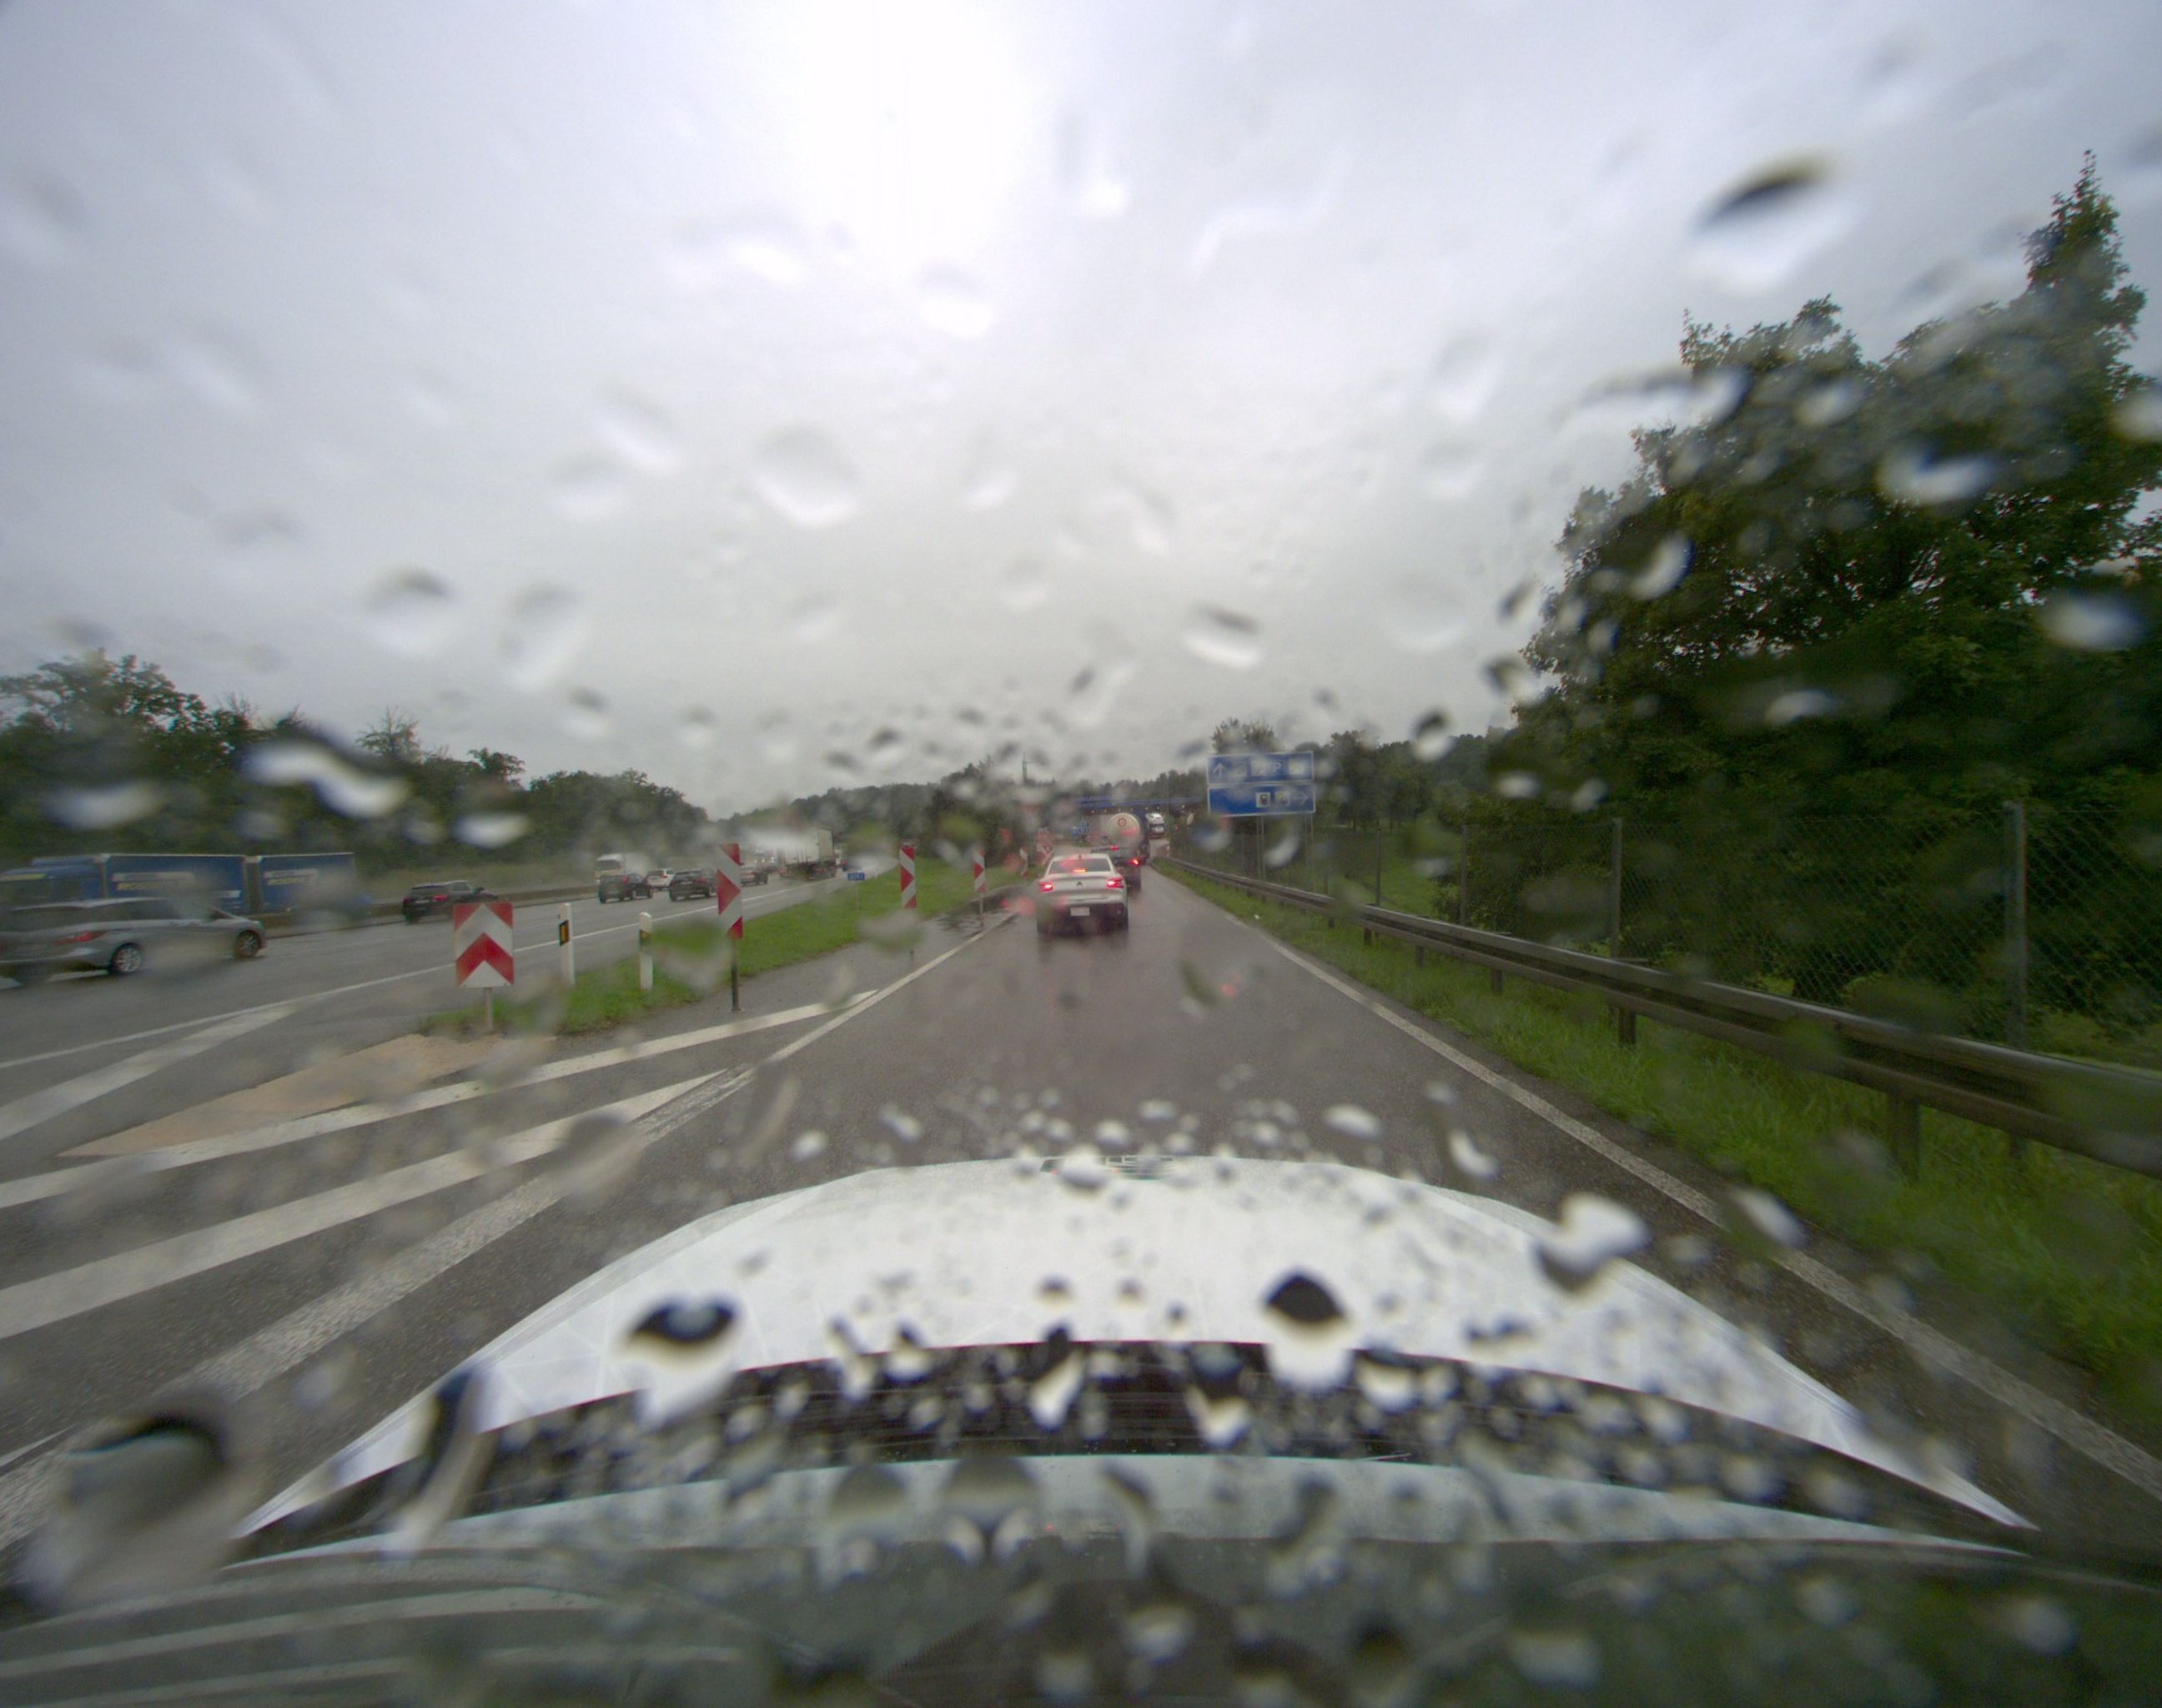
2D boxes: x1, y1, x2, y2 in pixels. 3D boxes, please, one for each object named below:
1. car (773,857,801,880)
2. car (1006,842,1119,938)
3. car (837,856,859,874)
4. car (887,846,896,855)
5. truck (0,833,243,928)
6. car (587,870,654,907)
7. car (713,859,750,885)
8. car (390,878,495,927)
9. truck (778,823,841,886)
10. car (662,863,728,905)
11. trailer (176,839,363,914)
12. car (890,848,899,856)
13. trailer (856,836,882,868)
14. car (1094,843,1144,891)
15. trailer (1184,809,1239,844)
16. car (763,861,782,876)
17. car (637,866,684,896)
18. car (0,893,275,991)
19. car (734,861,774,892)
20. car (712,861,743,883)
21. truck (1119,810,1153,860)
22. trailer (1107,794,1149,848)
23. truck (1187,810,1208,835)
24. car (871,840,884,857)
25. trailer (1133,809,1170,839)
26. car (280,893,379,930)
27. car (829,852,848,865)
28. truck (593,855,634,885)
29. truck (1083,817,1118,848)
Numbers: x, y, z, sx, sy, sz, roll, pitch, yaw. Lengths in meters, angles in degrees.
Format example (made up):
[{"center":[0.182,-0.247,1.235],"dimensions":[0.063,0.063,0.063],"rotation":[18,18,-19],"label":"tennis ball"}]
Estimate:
[{"center":[-28.075,1.345,77.936],"dimensions":[1.997,2.013,3.981],"rotation":[-4,0,-14],"label":"car"},{"center":[-0.308,0.625,16.536],"dimensions":[1.987,1.679,4.000],"rotation":[-1,0,0],"label":"car"},{"center":[-25.860,1.227,90.506],"dimensions":[1.994,1.815,3.985],"rotation":[-2,0,-11],"label":"car"},{"center":[-45.691,-0.812,196.204],"dimensions":[1.999,2.013,3.976],"rotation":[0,0,-17],"label":"car"},{"center":[-46.683,1.166,39.251],"dimensions":[3.061,3.980,10.522],"rotation":[1,-1,-10],"label":"truck"},{"center":[-24.845,1.831,44.095],"dimensions":[1.776,1.736,4.086],"rotation":[-3,0,-10],"label":"car"},{"center":[-30.510,1.540,71.213],"dimensions":[1.995,2.013,3.985],"rotation":[-4,1,-11],"label":"car"},{"center":[-27.705,2.058,35.533],"dimensions":[1.776,1.736,4.086],"rotation":[-4,1,-10],"label":"car"},{"center":[-20.827,0.053,63.207],"dimensions":[2.851,4.292,11.798],"rotation":[-4,0,-11],"label":"truck"},{"center":[-18.459,1.399,39.104],"dimensions":[1.776,1.736,3.833],"rotation":[-4,0,-10],"label":"car"},{"center":[-48.270,1.307,49.006],"dimensions":[3.090,4.047,9.136],"rotation":[1,-1,-9],"label":"trailer"},{"center":[-49.377,-0.475,215.541],"dimensions":[1.999,2.013,3.976],"rotation":[0,0,-17],"label":"car"},{"center":[-33.277,-0.230,127.559],"dimensions":[3.556,4.611,12.055],"rotation":[-4,0,-15],"label":"trailer"},{"center":[1.409,0.452,30.650],"dimensions":[1.736,1.667,4.002],"rotation":[-2,0,2],"label":"car"},{"center":[14.488,-3.149,89.593],"dimensions":[2.110,3.440,10.320],"rotation":[-3,2,31],"label":"trailer"},{"center":[-39.878,1.848,105.265],"dimensions":[1.699,1.786,3.769],"rotation":[-4,1,-12],"label":"car"},{"center":[-32.240,2.037,62.495],"dimensions":[1.994,2.013,3.985],"rotation":[-4,0,-11],"label":"car"},{"center":[-20.206,1.772,17.457],"dimensions":[1.787,1.526,4.324],"rotation":[-4,1,-7],"label":"car"},{"center":[-23.406,1.570,58.416],"dimensions":[1.790,1.971,4.317],"rotation":[-3,0,-12],"label":"car"},{"center":[-35.983,1.811,82.955],"dimensions":[1.995,2.013,3.985],"rotation":[-4,1,-11],"label":"car"},{"center":[4.209,-1.481,61.631],"dimensions":[2.041,3.530,4.757],"rotation":[-3,2,8],"label":"truck"},{"center":[3.327,-2.230,55.126],"dimensions":[1.969,3.224,10.345],"rotation":[-3,2,7],"label":"trailer"},{"center":[18.575,-4.987,130.118],"dimensions":[2.421,3.805,3.995],"rotation":[-4,3,-5],"label":"truck"},{"center":[-41.207,-1.089,164.969],"dimensions":[2.377,3.485,4.790],"rotation":[0,0,-15],"label":"car"},{"center":[10.689,-4.559,124.935],"dimensions":[3.213,4.188,11.503],"rotation":[-3,2,-7],"label":"trailer"},{"center":[-43.385,3.293,47.176],"dimensions":[1.993,1.719,4.355],"rotation":[-4,0,-9],"label":"car"},{"center":[-35.281,0.654,118.635],"dimensions":[1.993,1.815,3.988],"rotation":[-1,0,-9],"label":"car"},{"center":[-57.559,1.972,100.462],"dimensions":[2.649,3.451,5.577],"rotation":[-3,0,-13],"label":"truck"},{"center":[2.558,-2.953,112.993],"dimensions":[2.370,3.873,12.417],"rotation":[-4,2,-9],"label":"truck"}]
